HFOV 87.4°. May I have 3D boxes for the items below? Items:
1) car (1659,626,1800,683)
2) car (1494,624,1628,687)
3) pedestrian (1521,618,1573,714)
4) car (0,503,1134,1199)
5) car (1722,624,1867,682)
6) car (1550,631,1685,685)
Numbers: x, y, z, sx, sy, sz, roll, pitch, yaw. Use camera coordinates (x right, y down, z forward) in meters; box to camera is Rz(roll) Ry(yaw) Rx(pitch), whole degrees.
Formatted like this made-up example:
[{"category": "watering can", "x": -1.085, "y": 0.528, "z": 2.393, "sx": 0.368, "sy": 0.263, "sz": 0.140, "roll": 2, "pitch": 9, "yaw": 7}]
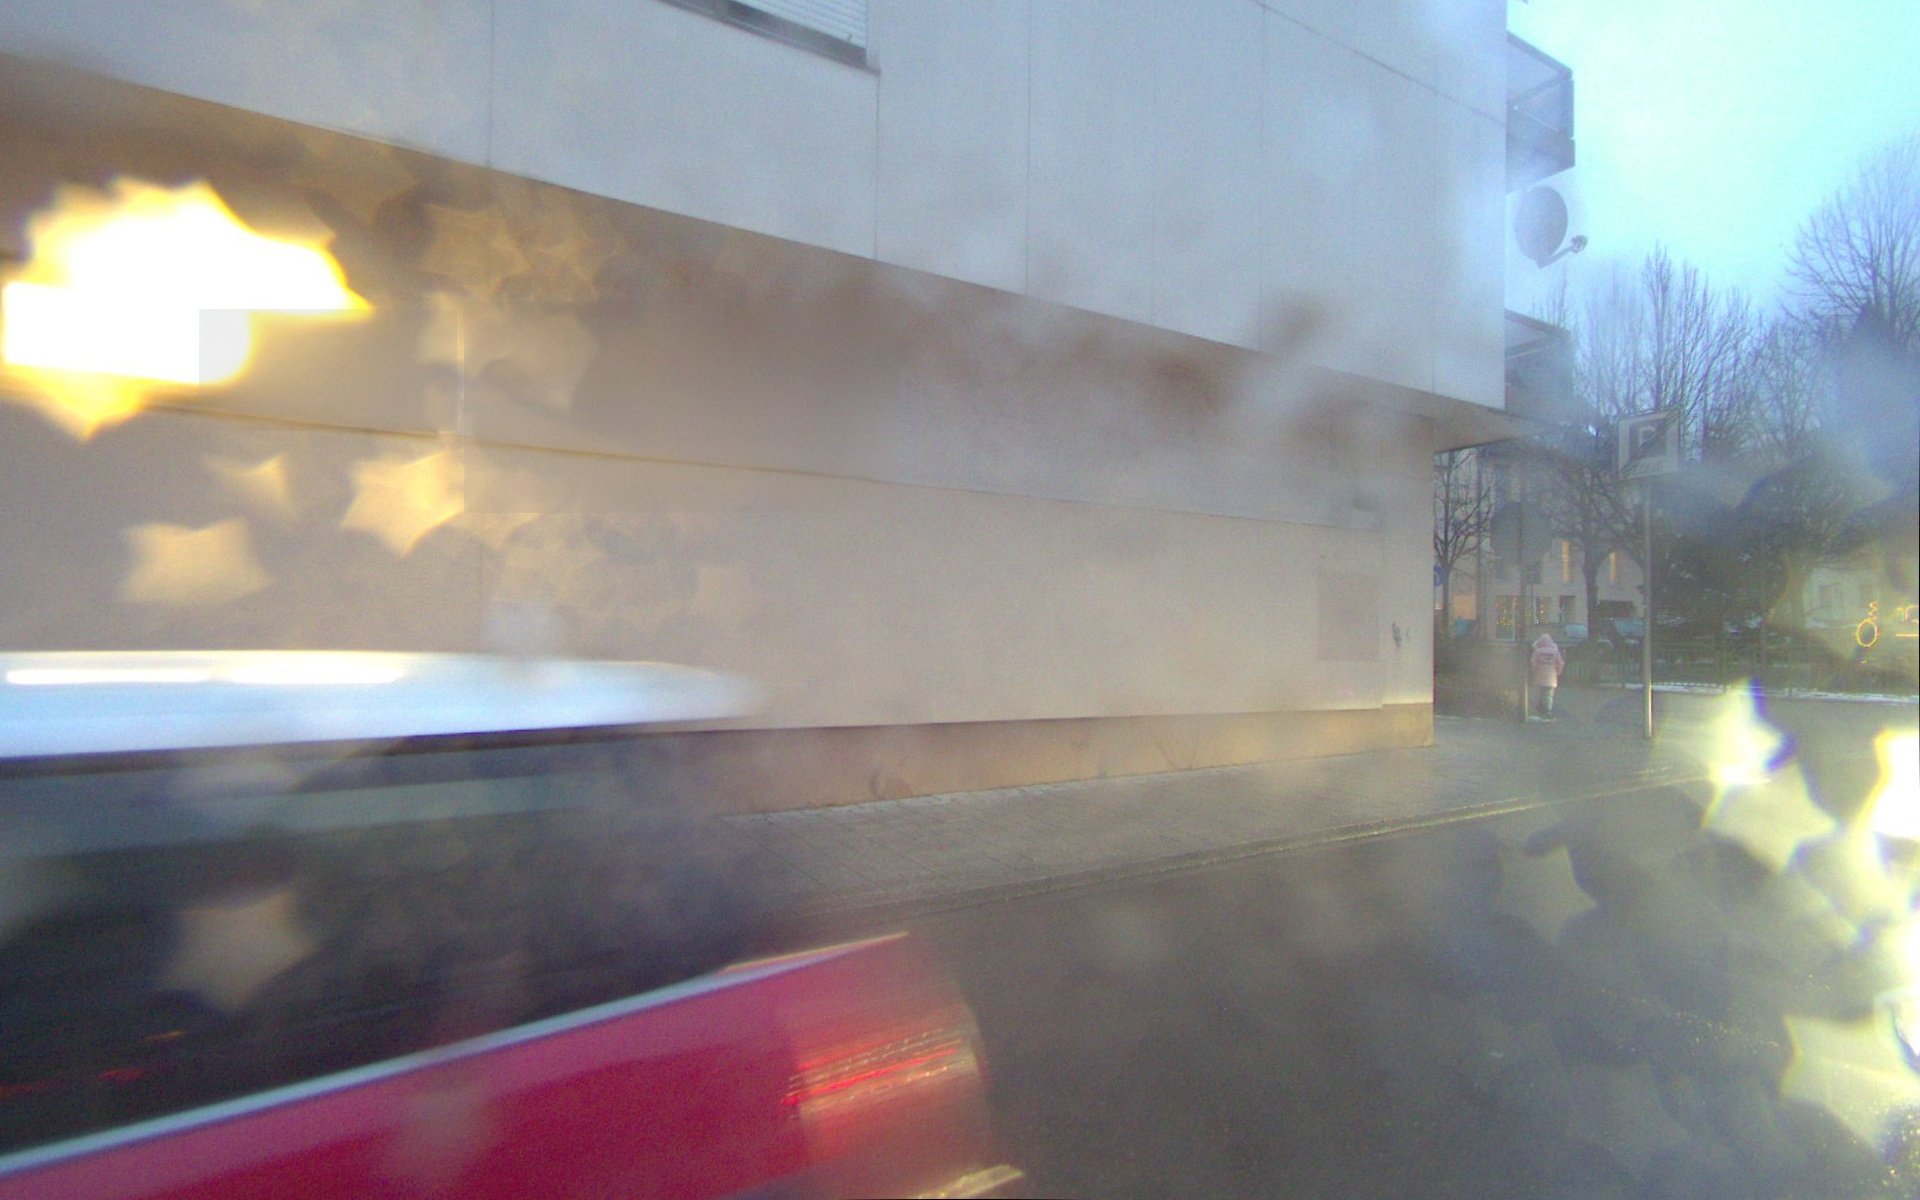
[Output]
[{"category": "car", "x": 28.248, "y": 1.940, "z": 37.029, "sx": 1.786, "sy": 1.936, "sz": 3.993, "roll": 0, "pitch": -1, "yaw": -10}, {"category": "car", "x": 20.538, "y": 1.834, "z": 34.527, "sx": 1.786, "sy": 2.014, "sz": 3.993, "roll": 0, "pitch": -1, "yaw": -10}, {"category": "pedestrian", "x": 9.349, "y": 1.029, "z": 16.028, "sx": 0.638, "sy": 1.478, "sz": 0.650, "roll": 0, "pitch": 0, "yaw": 24}, {"category": "car", "x": -1.591, "y": 0.699, "z": 1.280, "sx": 3.368, "sy": 1.556, "sz": 1.629, "roll": 1, "pitch": -1, "yaw": -32}, {"category": "car", "x": 31.147, "y": 1.918, "z": 37.653, "sx": 1.786, "sy": 2.025, "sz": 3.993, "roll": 0, "pitch": -1, "yaw": -10}, {"category": "car", "x": 23.136, "y": 1.989, "z": 35.532, "sx": 1.786, "sy": 1.753, "sz": 3.993, "roll": 0, "pitch": -1, "yaw": -10}]
